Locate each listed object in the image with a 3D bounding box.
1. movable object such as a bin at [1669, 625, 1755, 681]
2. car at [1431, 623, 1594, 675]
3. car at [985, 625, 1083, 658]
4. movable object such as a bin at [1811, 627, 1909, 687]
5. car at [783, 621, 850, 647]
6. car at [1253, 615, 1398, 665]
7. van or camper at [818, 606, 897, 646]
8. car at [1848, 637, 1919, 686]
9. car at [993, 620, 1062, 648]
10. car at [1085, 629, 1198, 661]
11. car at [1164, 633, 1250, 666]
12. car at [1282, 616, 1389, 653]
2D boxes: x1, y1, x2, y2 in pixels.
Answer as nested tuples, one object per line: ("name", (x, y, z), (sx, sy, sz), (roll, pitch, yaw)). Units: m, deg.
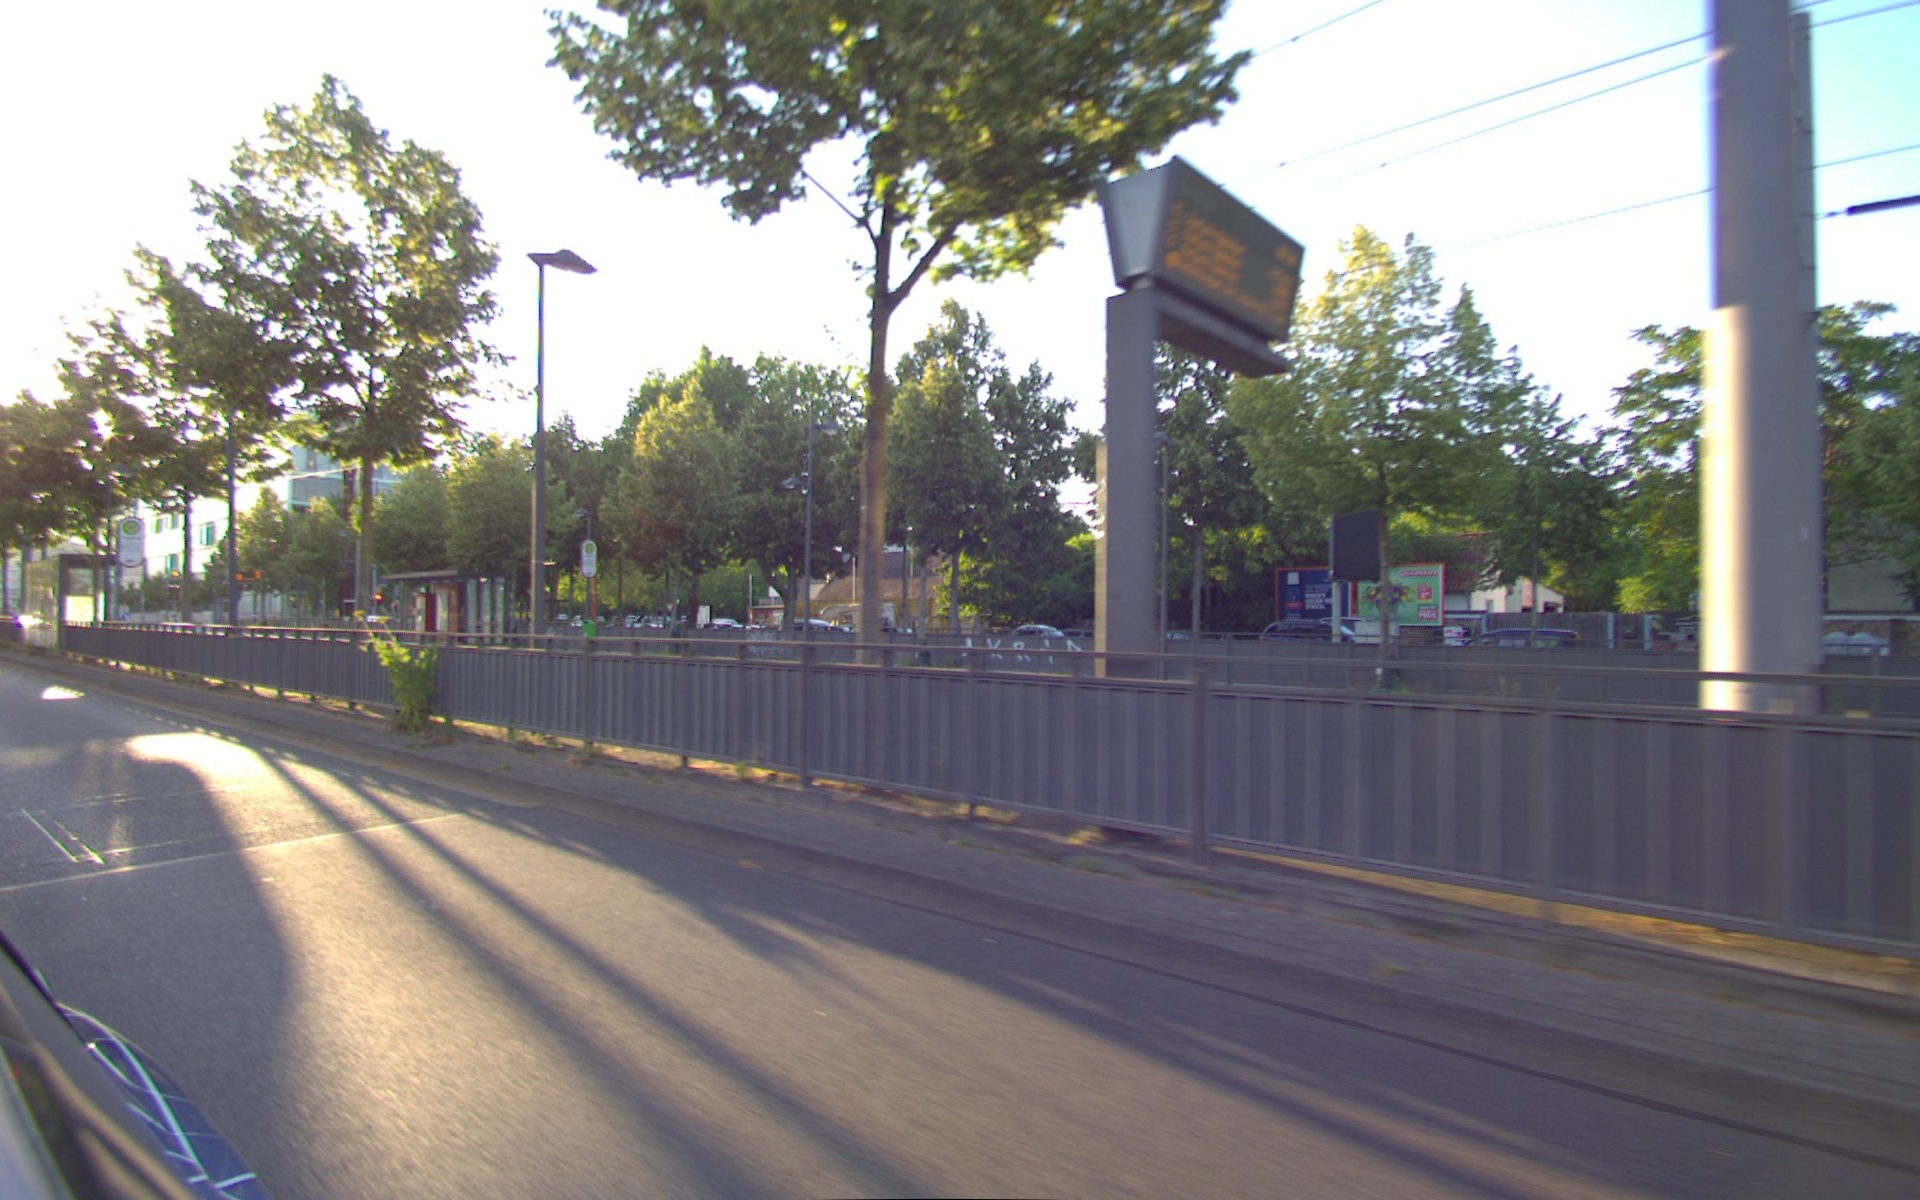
("movable object such as a bin", (19.981, 1.368, 26.895), (1.701, 1.422, 1.393), (-1, -2, 43))
("car", (16.788, 1.448, 30.839), (4.000, 1.459, 1.972), (-1, -2, 43))
("car", (3.258, 1.816, 45.013), (4.001, 1.418, 1.971), (-2, -2, 44))
("movable object such as a bin", (22.017, 1.367, 24.789), (1.724, 1.383, 1.536), (-1, -2, 43))
("car", (-8.611, 2.015, 60.497), (1.970, 1.542, 4.003), (1, -2, -44))
("car", (12.624, 1.353, 35.116), (4.297, 1.598, 1.972), (-1, -2, 43))
("van or camper", (-6.944, 1.775, 68.267), (2.363, 2.583, 5.638), (2, -2, -43))
("car", (29.292, 1.849, 30.727), (3.407, 1.441, 1.627), (-1, -2, 44))
("car", (3.843, 1.910, 57.589), (3.646, 1.512, 1.803), (-2, -2, 45))
("car", (7.263, 1.778, 40.694), (4.089, 1.210, 1.972), (-1, -2, 43))
("car", (11.904, 2.360, 48.862), (3.658, 1.459, 1.701), (-1, -2, 42))
("car", (16.642, 1.515, 44.945), (1.970, 1.564, 4.003), (2, -2, -44))
